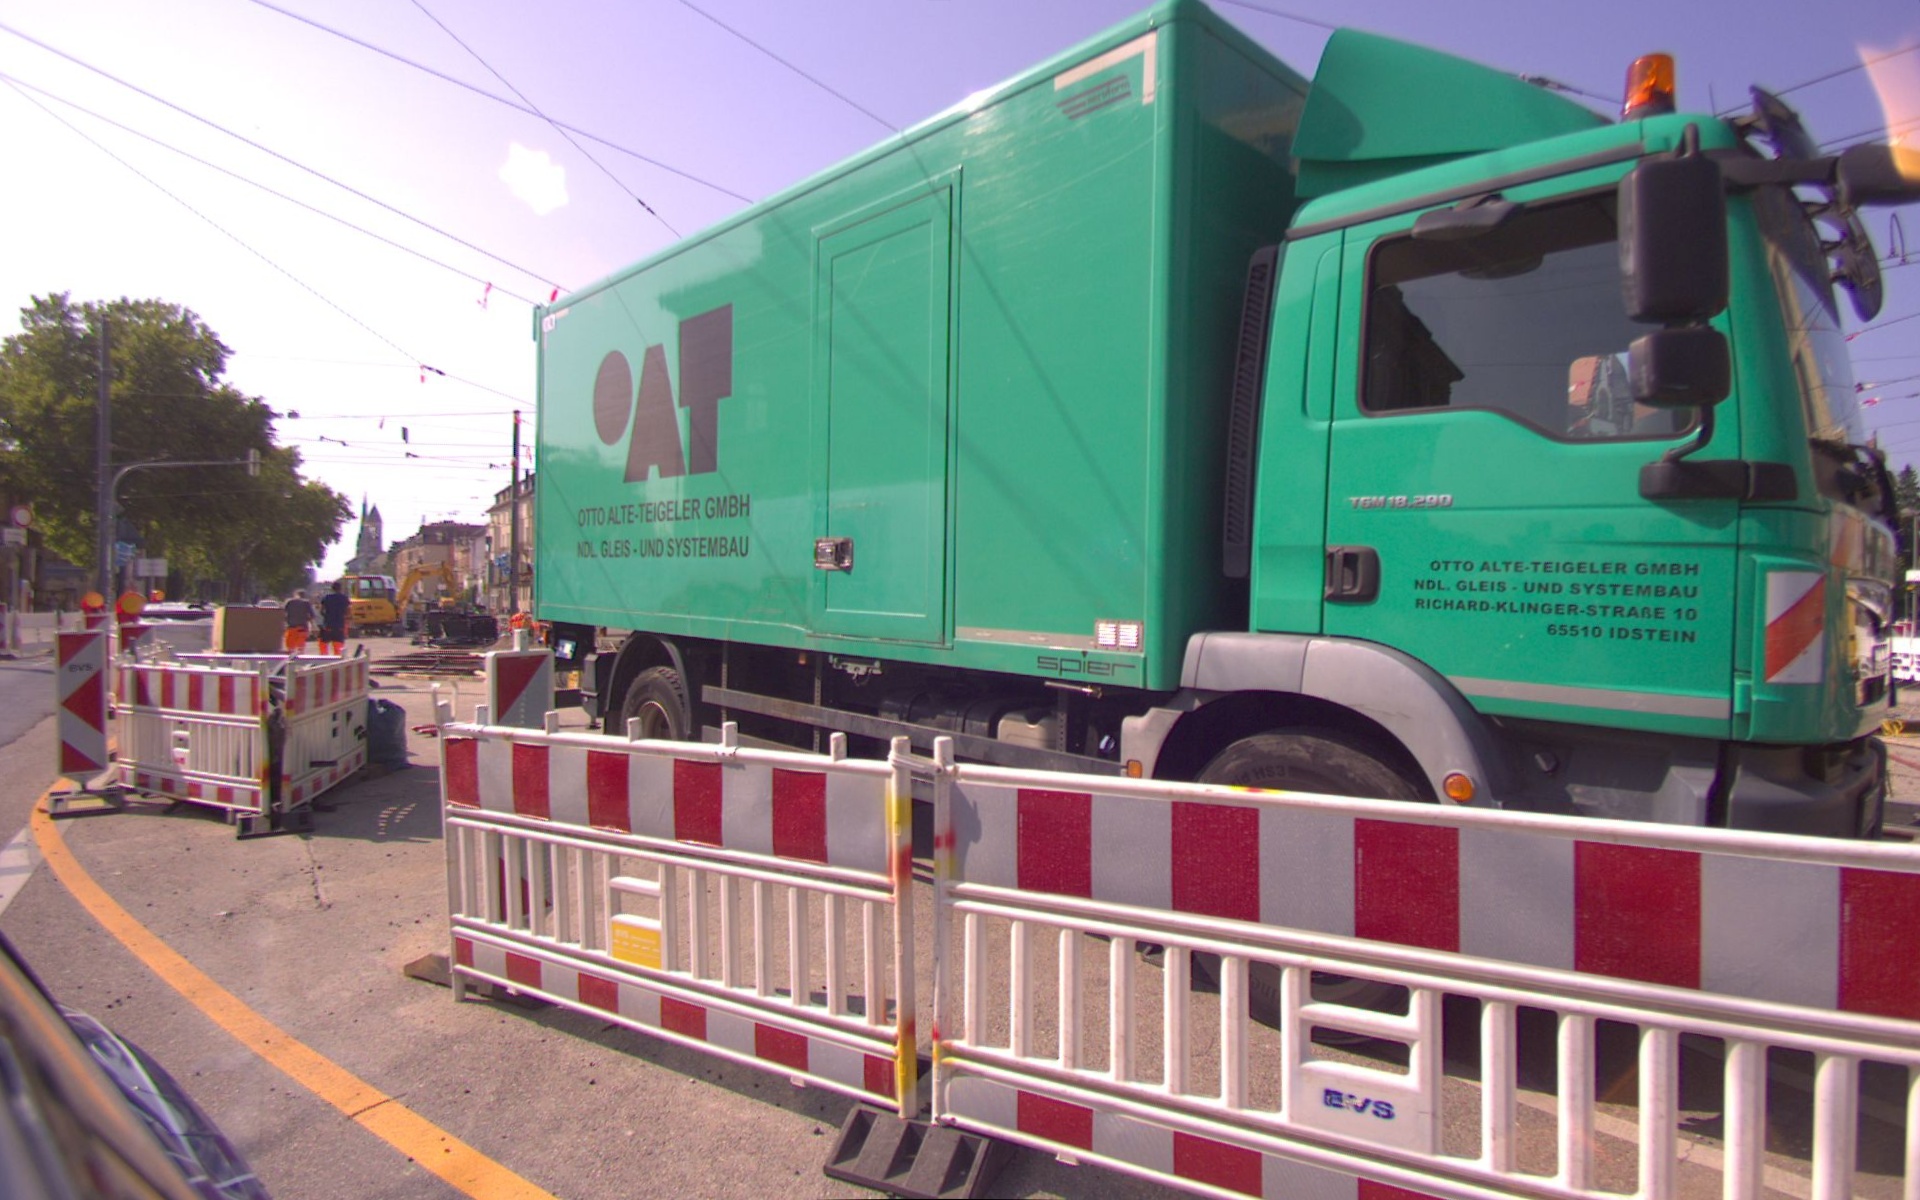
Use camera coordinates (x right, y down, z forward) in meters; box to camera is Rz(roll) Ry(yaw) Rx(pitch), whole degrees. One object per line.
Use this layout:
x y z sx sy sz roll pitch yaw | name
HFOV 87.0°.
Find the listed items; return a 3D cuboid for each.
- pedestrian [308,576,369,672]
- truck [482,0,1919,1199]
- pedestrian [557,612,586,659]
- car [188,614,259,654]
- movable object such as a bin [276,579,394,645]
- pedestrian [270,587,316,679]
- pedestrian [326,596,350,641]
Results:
-12.351 0.481 20.118 0.906 1.855 0.803 1 -1 -39 | pedestrian
0.174 -0.505 6.073 2.775 3.817 9.023 2 -2 -43 | truck
-10.696 0.972 27.863 0.547 1.256 0.541 0 -1 39 | pedestrian
-27.657 1.238 38.115 1.966 1.406 4.011 1 -1 -34 | car
-25.567 0.514 41.441 2.915 2.427 3.132 2 -2 37 | movable object such as a bin
-13.323 0.651 20.219 0.708 1.788 0.466 1 -1 -38 | pedestrian
-24.497 0.719 39.859 0.690 1.752 0.915 1 -1 -27 | pedestrian
